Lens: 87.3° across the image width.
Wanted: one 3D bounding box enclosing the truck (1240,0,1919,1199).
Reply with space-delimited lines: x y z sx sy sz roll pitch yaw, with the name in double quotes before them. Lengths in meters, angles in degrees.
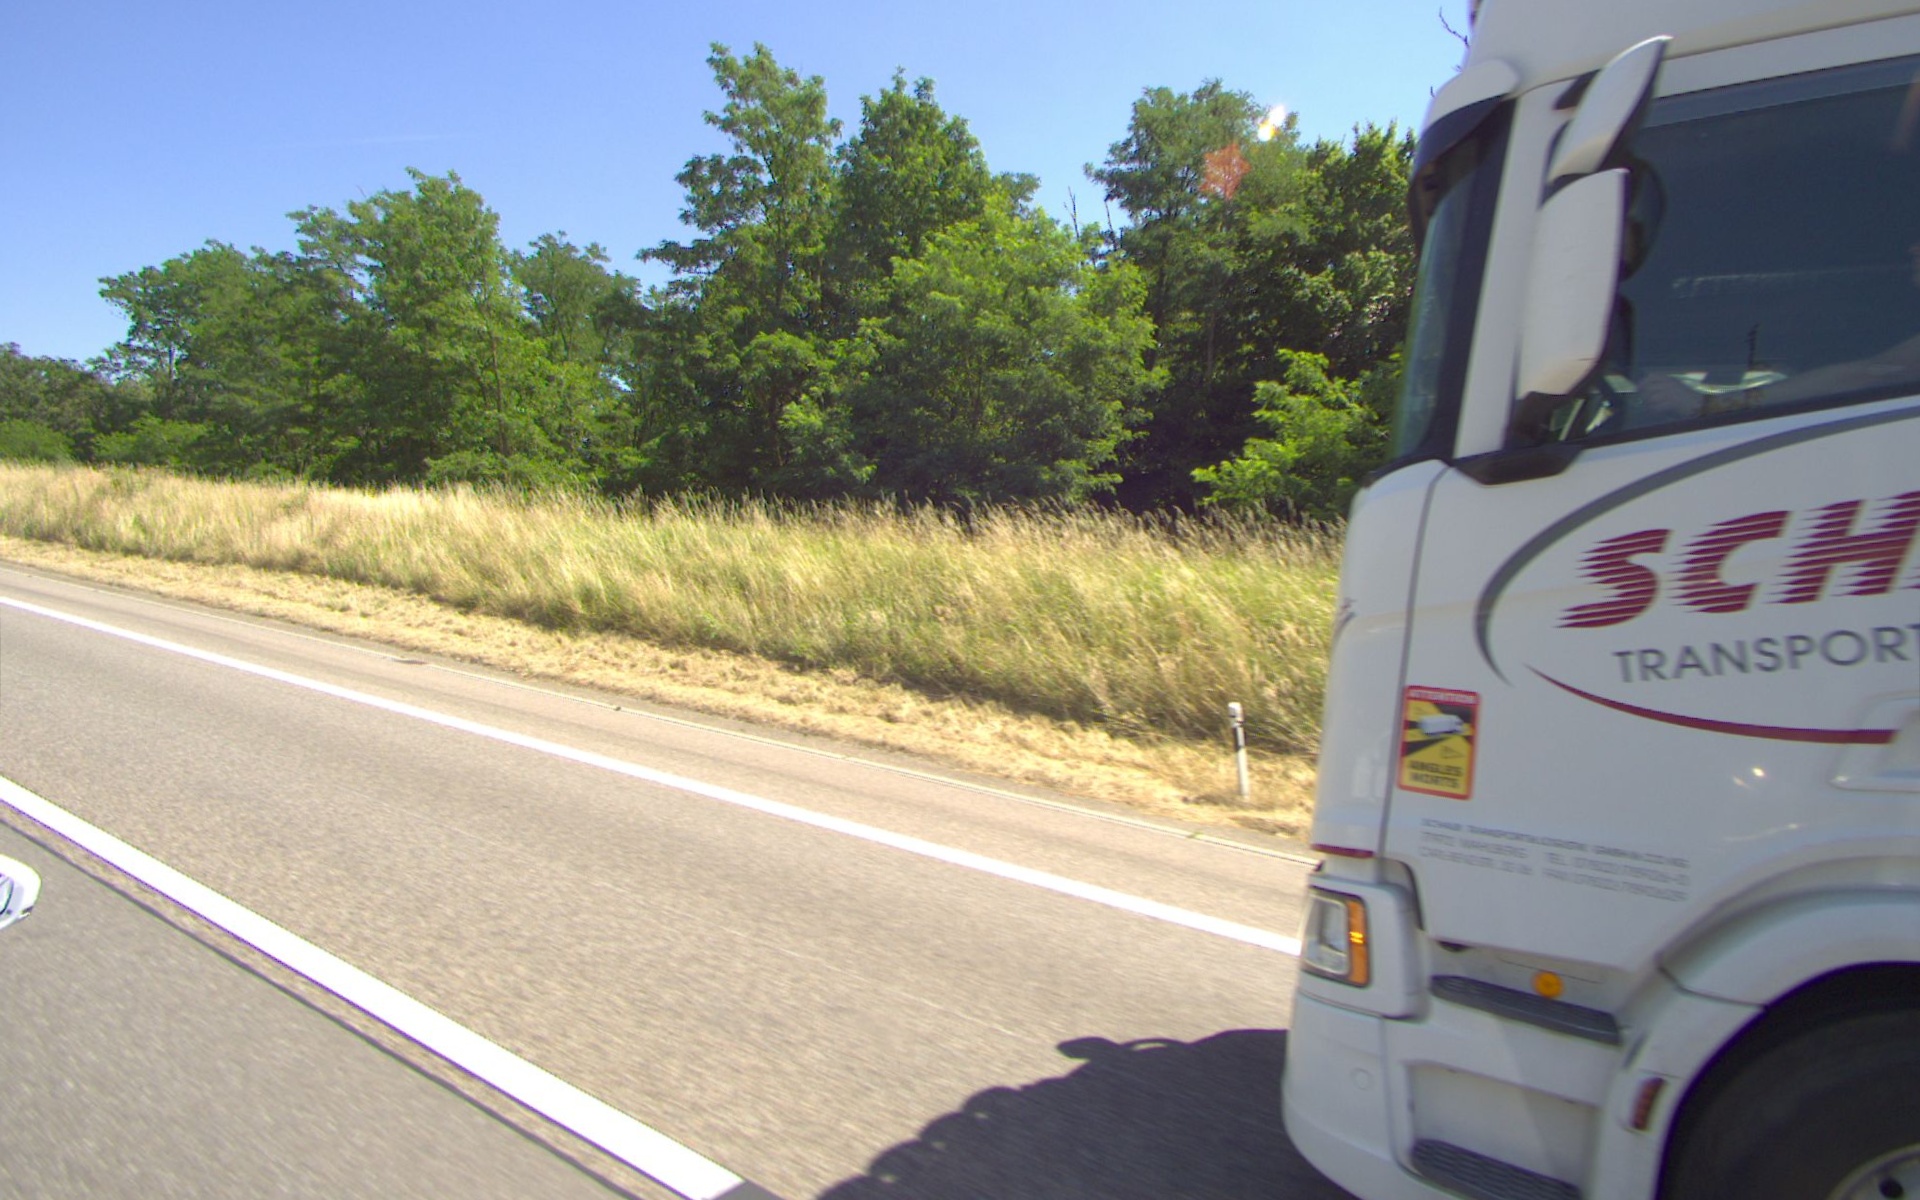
"truck" 4.043 0.035 1.996 5.845 3.804 2.688 7 0 32
